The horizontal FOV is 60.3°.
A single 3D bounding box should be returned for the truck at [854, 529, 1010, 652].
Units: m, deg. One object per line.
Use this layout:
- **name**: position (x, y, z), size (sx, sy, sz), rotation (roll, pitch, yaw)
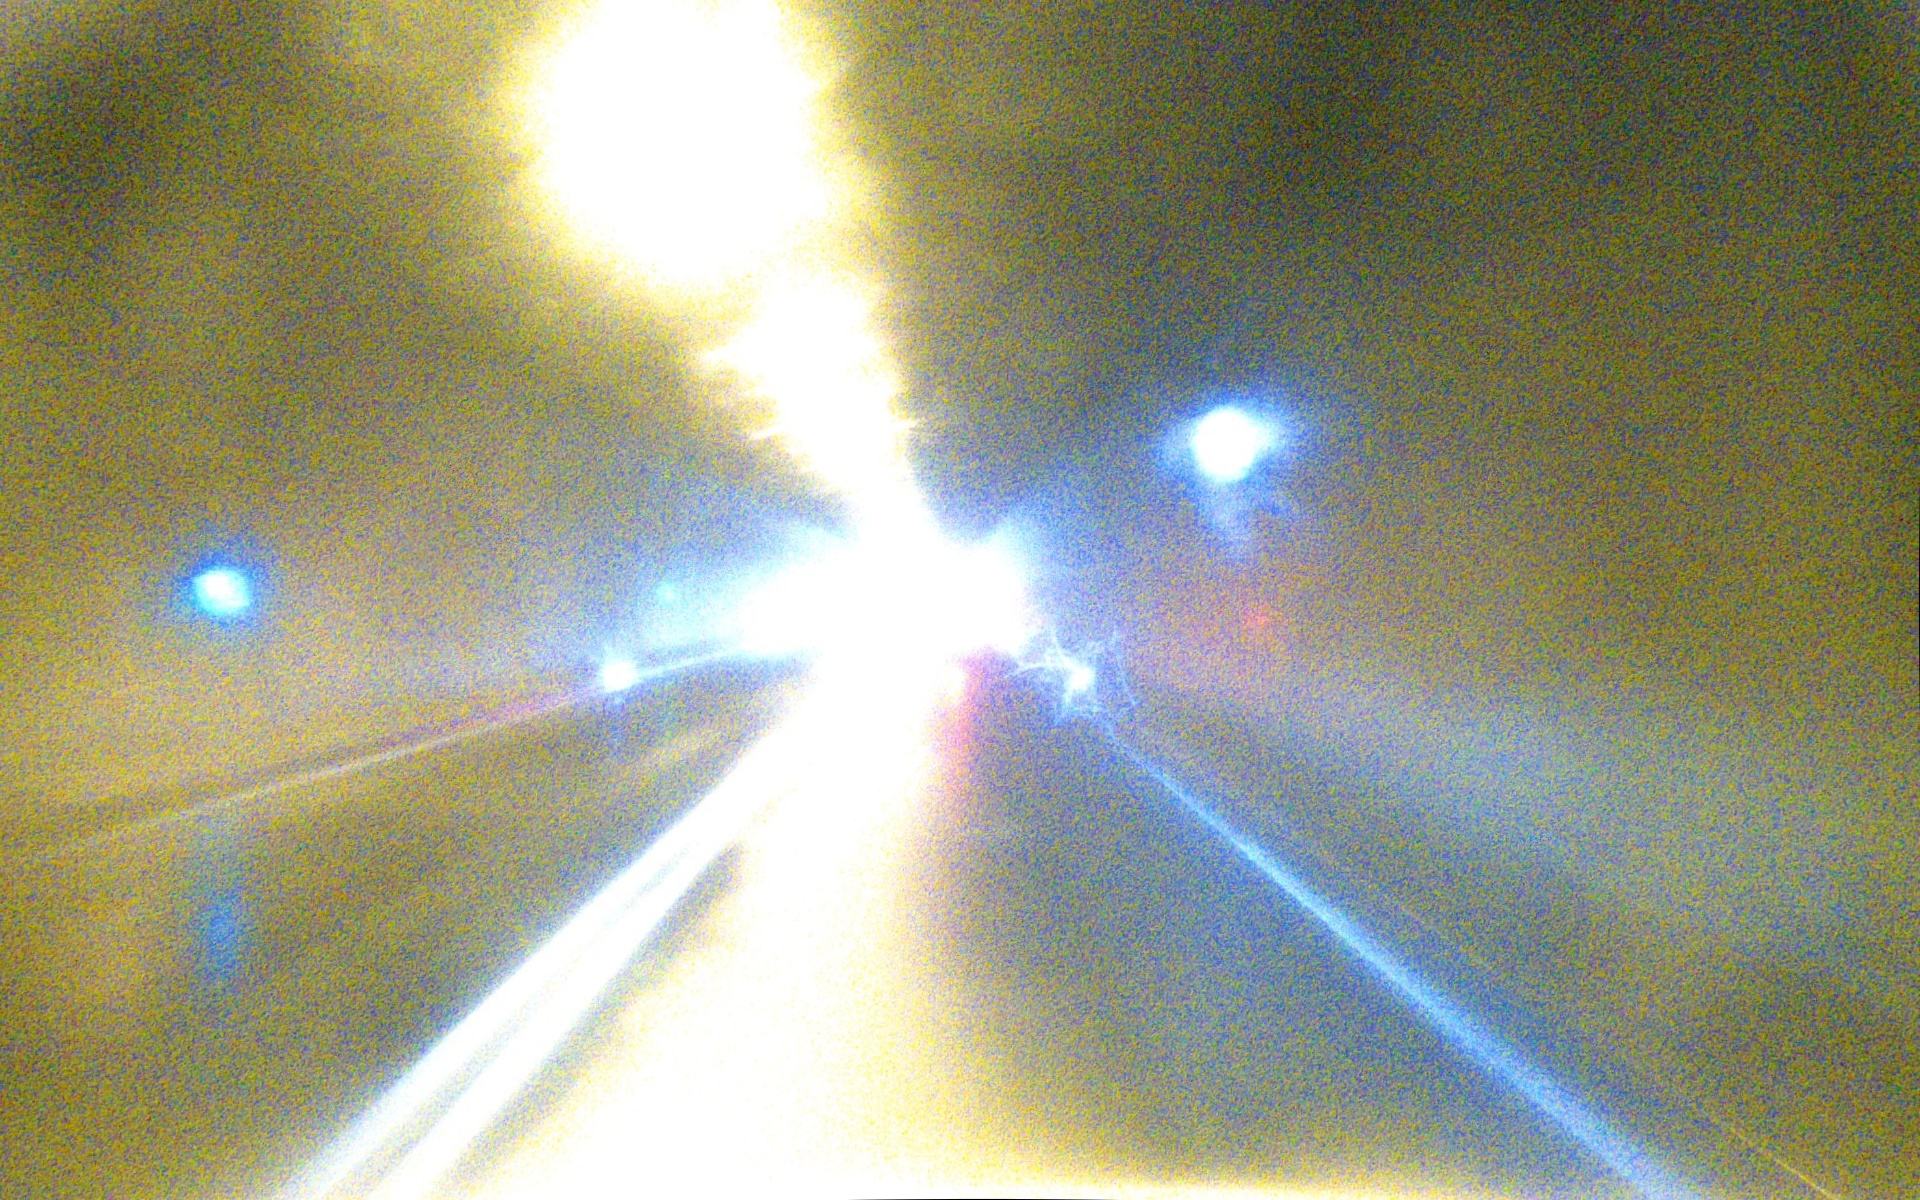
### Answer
- **truck**: position (-0.661, -0.216, 41.632), size (3.463, 2.740, 8.954), rotation (1, 0, -1)
